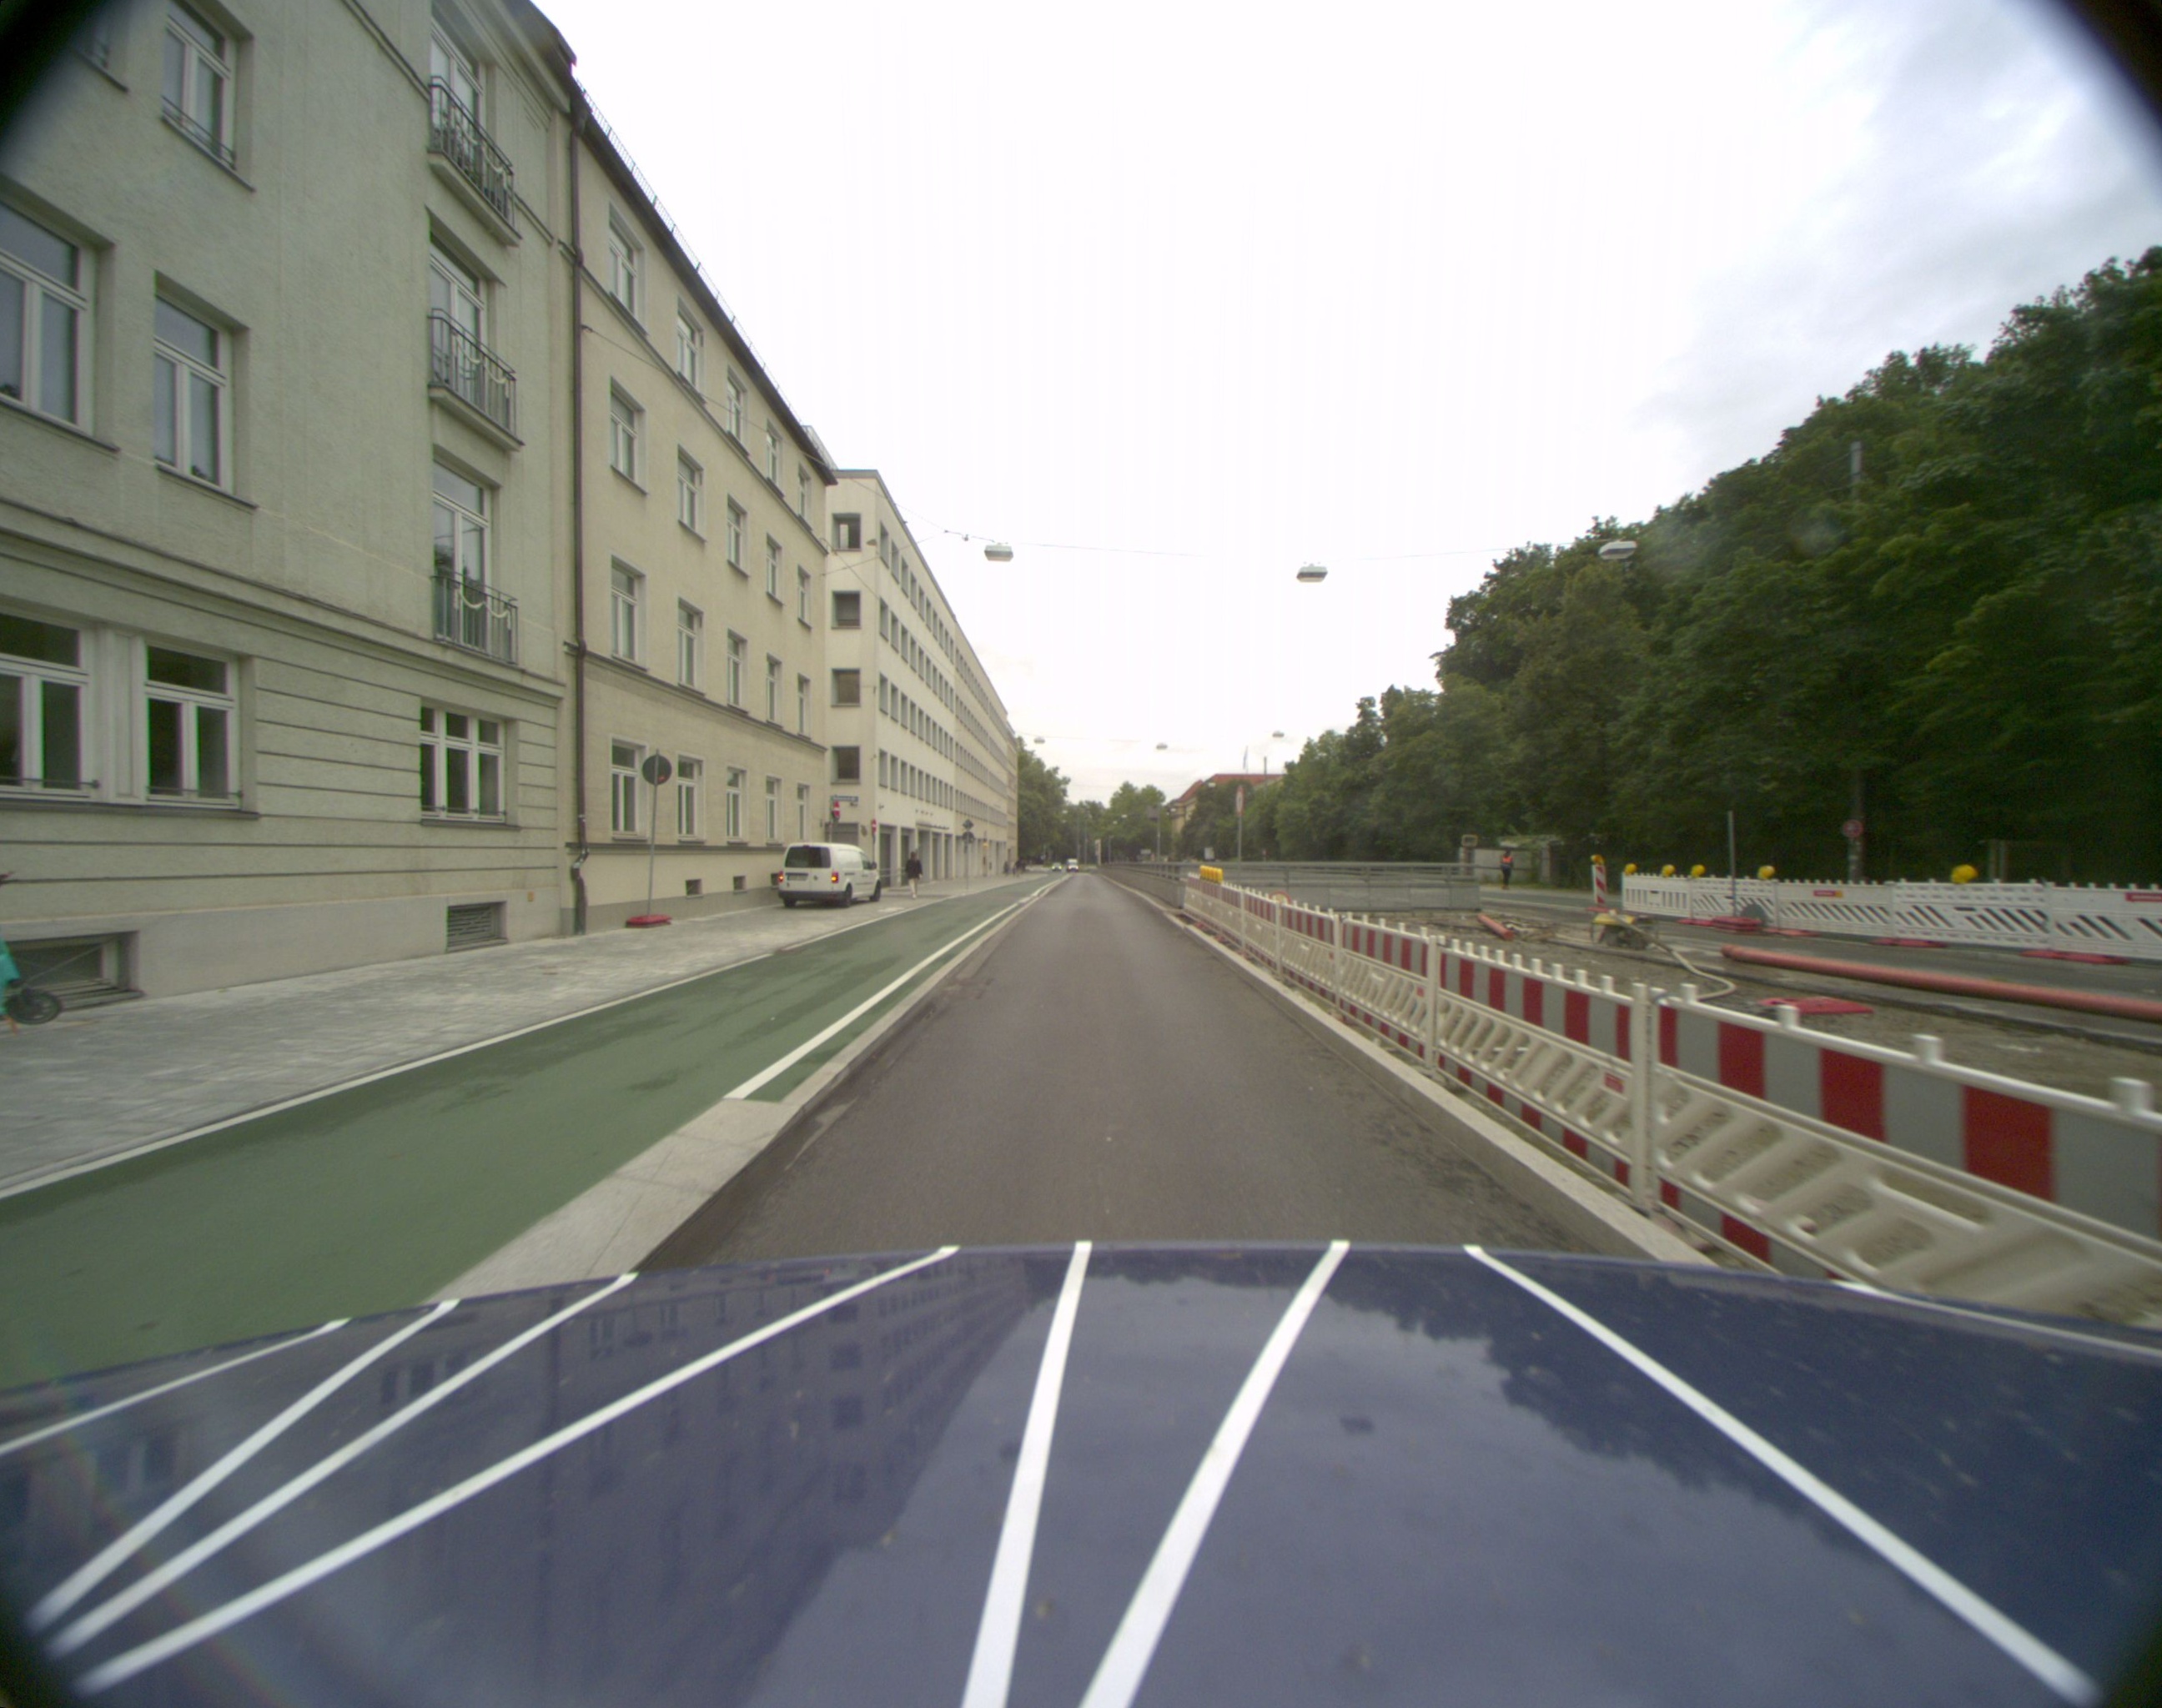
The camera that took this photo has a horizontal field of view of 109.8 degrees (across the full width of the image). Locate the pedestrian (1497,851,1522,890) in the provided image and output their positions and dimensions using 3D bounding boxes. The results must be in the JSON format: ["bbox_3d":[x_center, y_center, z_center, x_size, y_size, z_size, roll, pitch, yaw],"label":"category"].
[{"bbox_3d":[18.086,0.707,32.112,0.665,1.631,0.698,-1,0,1],"label":"pedestrian"}]

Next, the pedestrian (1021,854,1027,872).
[{"bbox_3d":[-5.768,0.923,77.029,0.514,1.825,0.602,4,0,0],"label":"pedestrian"}]

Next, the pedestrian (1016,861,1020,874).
[{"bbox_3d":[-6.374,1.384,76.832,0.368,1.239,0.470,4,0,1],"label":"pedestrian"}]

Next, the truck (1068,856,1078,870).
[{"bbox_3d":[-1.573,1.760,148.962,2.058,2.625,4.412,-1,0,-1],"label":"truck"}]

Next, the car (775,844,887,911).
[{"bbox_3d":[-7.157,0.630,22.245,1.738,1.739,4.435,1,0,1],"label":"car"}]

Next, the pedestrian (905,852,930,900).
[{"bbox_3d":[-5.633,0.736,26.139,0.666,1.626,0.737,1,0,0],"label":"pedestrian"}]

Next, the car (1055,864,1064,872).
[{"bbox_3d":[-4.579,2.956,162.084,1.999,1.738,3.999,-1,0,-1],"label":"car"}]

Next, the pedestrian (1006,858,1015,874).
[{"bbox_3d":[-7.288,1.269,78.716,0.754,1.610,0.704,4,0,0],"label":"pedestrian"}]

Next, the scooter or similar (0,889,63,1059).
[{"bbox_3d":[-8.390,0.923,5.553,0.387,1.265,1.119,2,1,0],"label":"scooter or similar"}]
